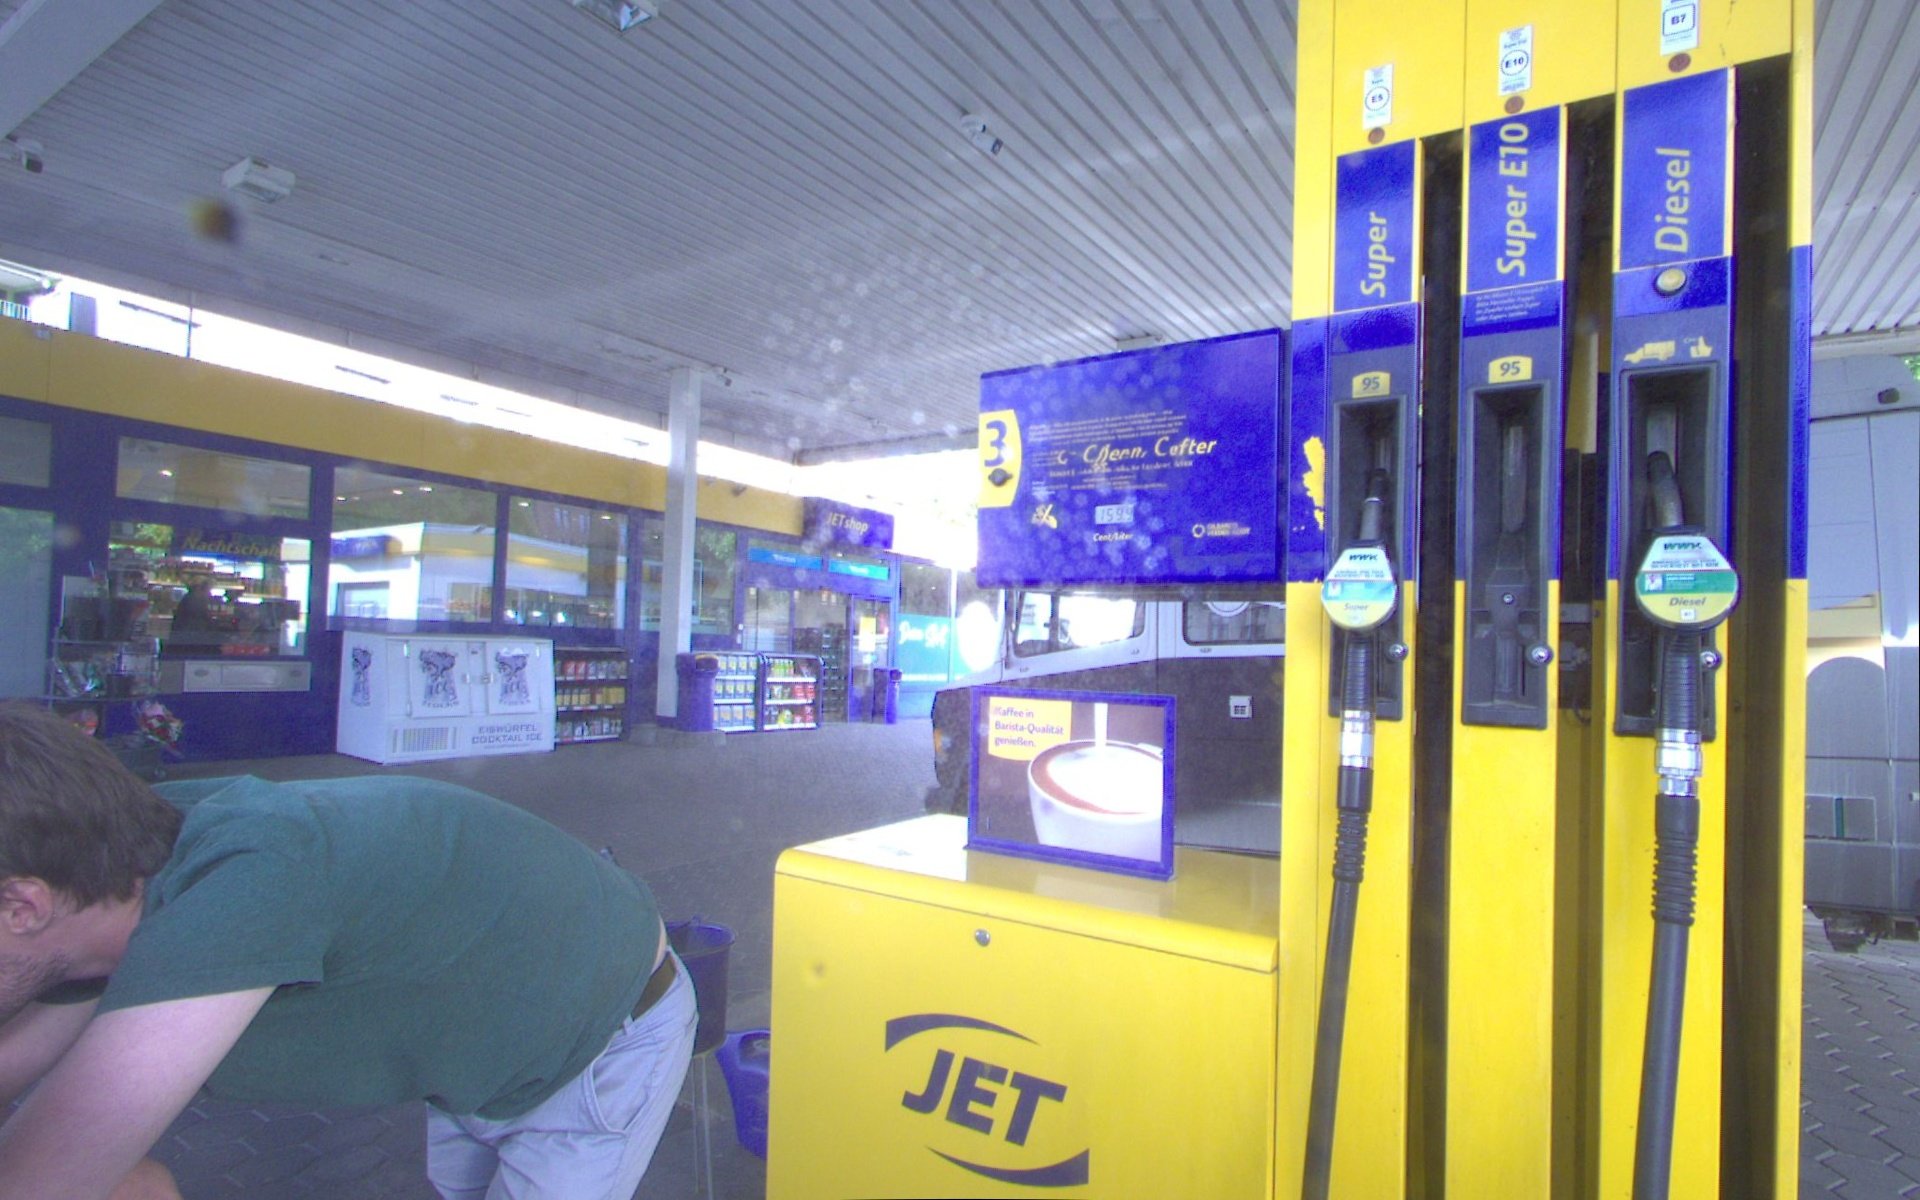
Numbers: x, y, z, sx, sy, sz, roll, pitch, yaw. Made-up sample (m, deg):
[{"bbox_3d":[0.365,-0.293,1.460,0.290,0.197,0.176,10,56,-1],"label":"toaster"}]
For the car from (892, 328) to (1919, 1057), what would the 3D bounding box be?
[{"bbox_3d":[2.352,0.426,6.011,5.271,2.759,2.193,-1,-3,34],"label":"car"}]

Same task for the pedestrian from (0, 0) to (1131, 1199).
[{"bbox_3d":[-0.520,0.570,1.094,0.981,1.750,1.175,-2,-2,36],"label":"pedestrian"}]
